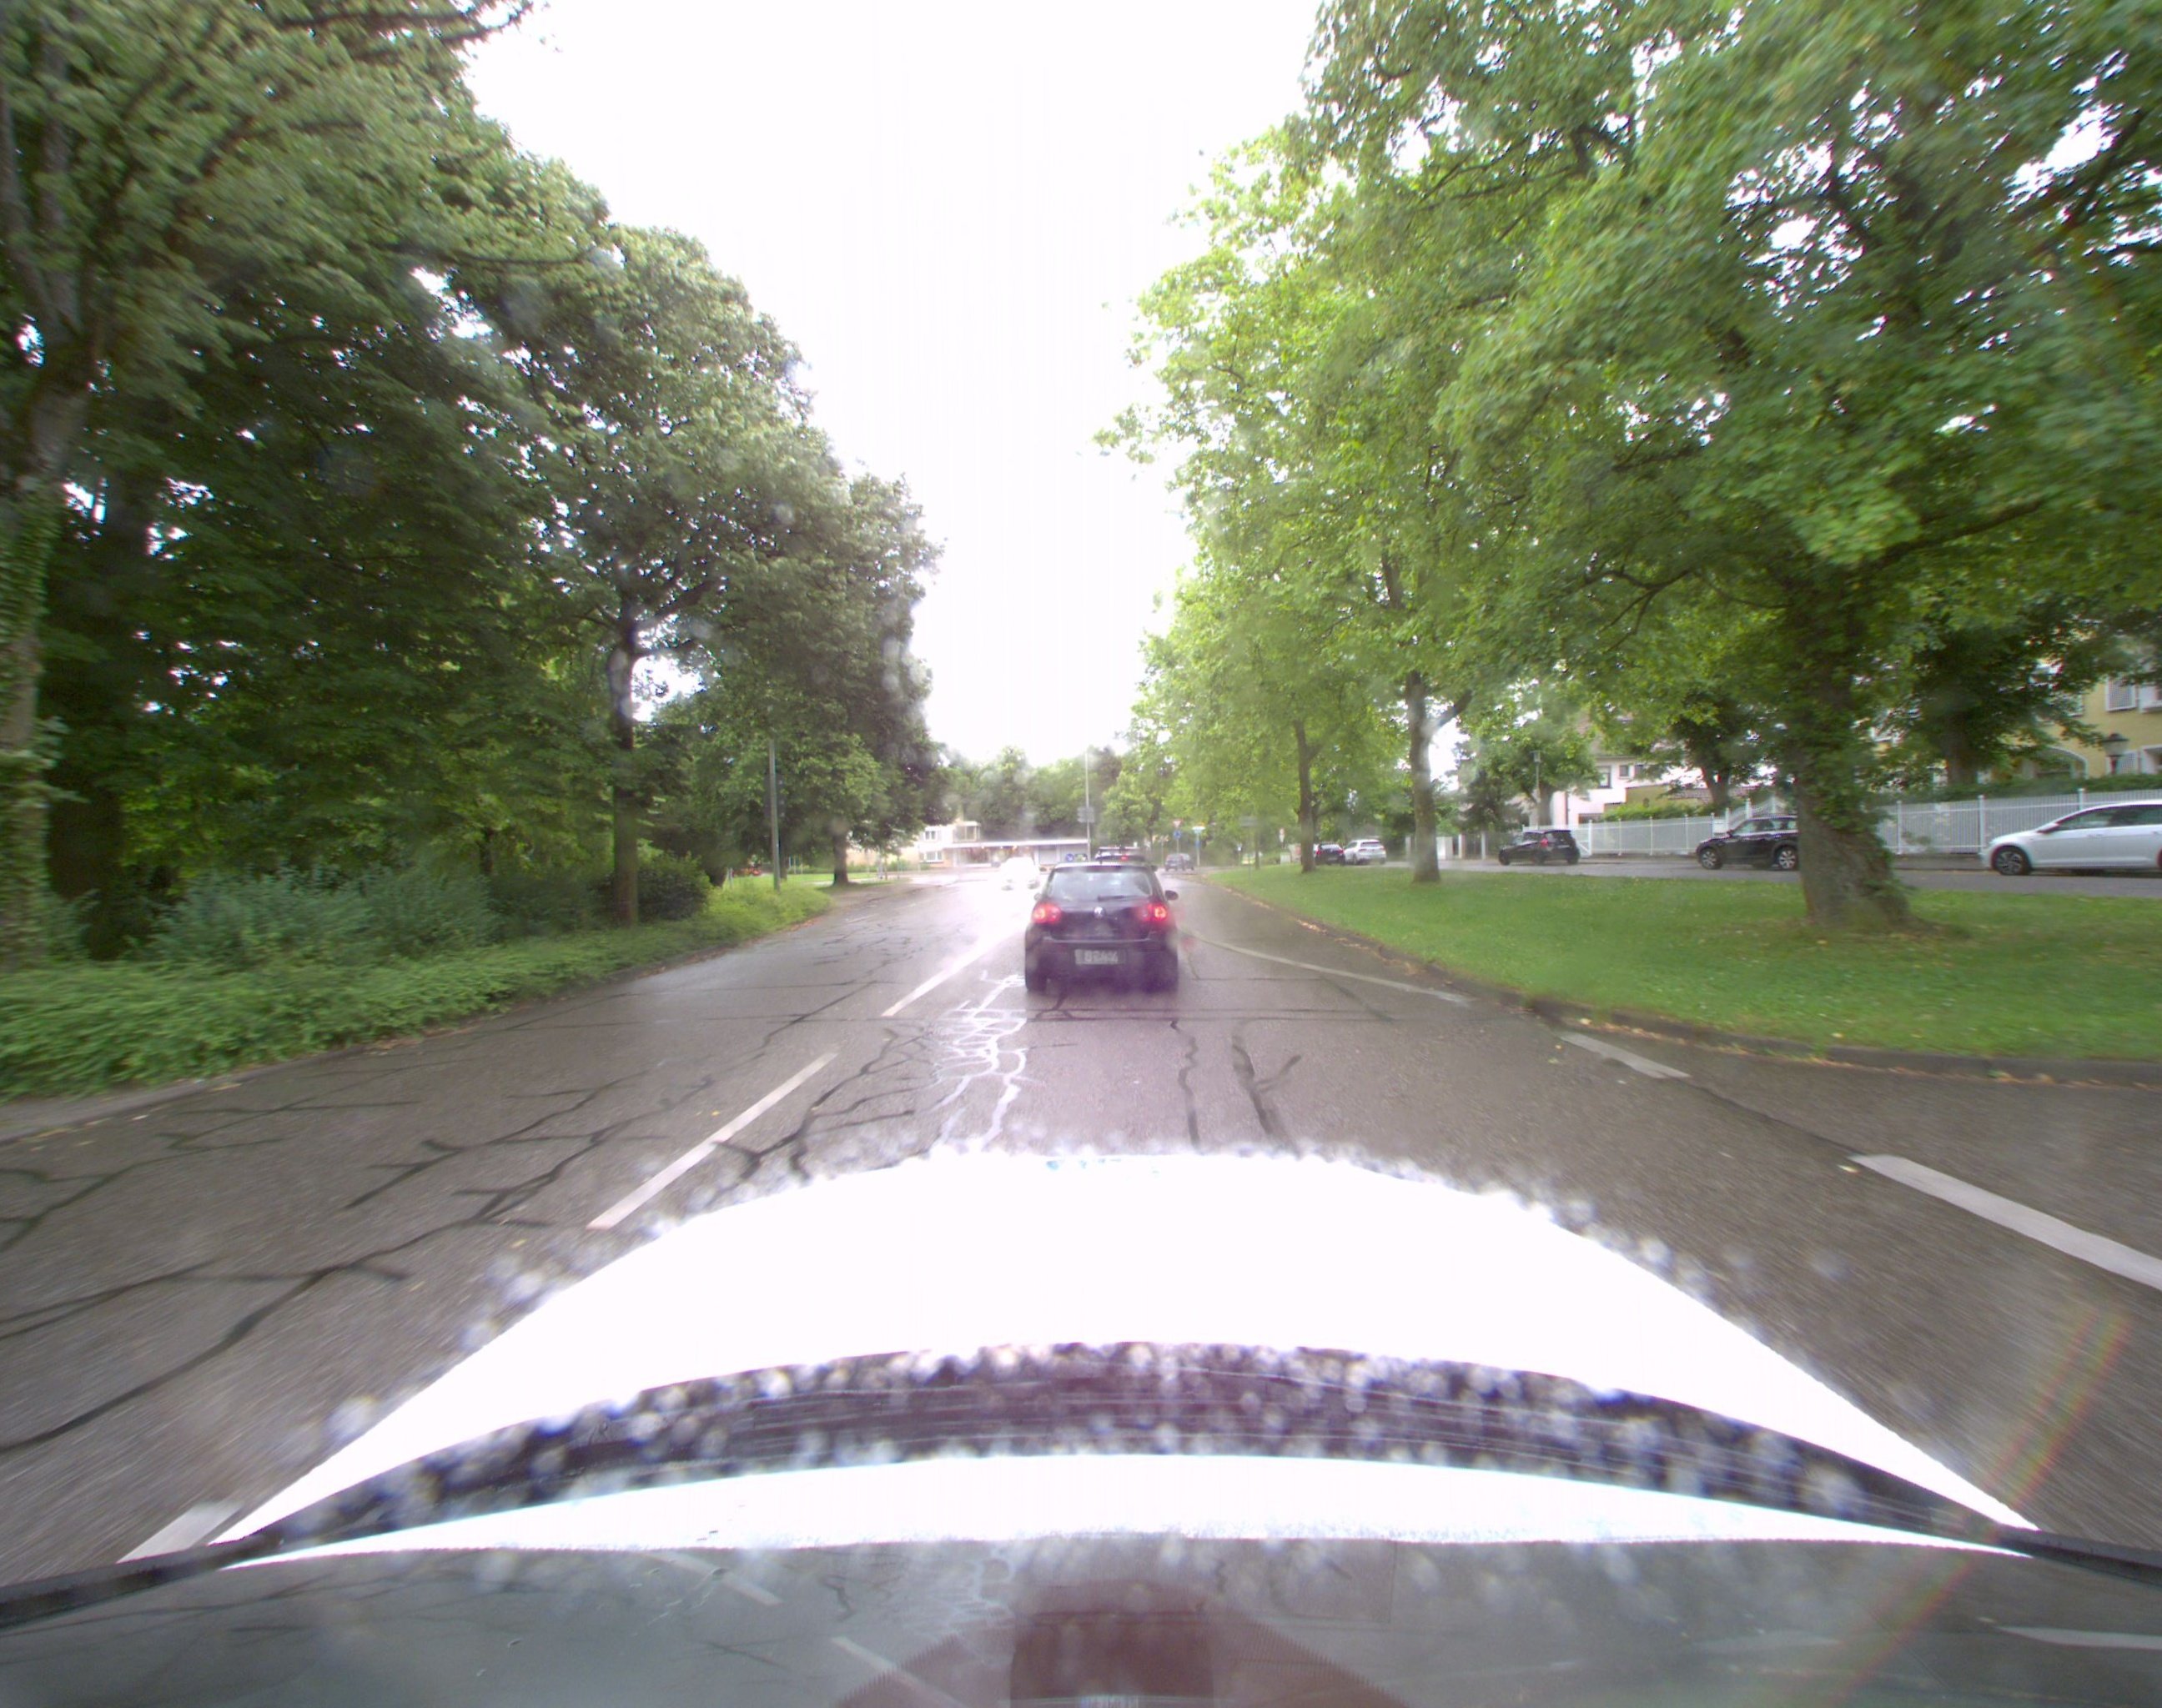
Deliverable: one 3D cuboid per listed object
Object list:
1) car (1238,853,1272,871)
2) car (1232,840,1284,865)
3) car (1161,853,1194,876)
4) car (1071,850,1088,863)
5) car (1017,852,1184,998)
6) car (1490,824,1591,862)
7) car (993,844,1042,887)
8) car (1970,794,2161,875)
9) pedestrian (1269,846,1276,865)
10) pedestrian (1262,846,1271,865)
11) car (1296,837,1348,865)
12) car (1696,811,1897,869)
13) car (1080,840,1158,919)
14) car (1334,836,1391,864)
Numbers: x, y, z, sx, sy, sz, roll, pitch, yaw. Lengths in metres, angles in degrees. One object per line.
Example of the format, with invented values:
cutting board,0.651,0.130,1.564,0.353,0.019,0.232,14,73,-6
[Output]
car,17.262,0.811,80.631,1.796,1.750,4.025,-1,-1,37
car,13.431,-0.157,62.027,1.999,1.741,4.120,2,1,-17
car,8.045,0.874,67.503,1.979,1.530,4.016,-9,-3,15
car,-0.214,0.264,97.354,1.809,1.486,3.826,-3,0,-4
car,0.266,0.767,10.591,1.758,1.538,4.001,0,-1,2
car,19.761,-0.413,35.257,1.755,1.471,4.354,-3,0,-1
car,-3.048,0.546,40.122,1.986,2.014,4.574,0,-1,1
car,20.243,-0.340,15.560,1.988,1.449,4.122,0,-1,-1
pedestrian,17.533,0.163,74.536,0.628,1.713,0.532,-1,-1,19
pedestrian,16.859,0.137,74.090,0.528,1.713,0.633,0,-1,-12
car,14.239,-0.125,48.362,1.758,1.471,4.599,-4,-1,2
car,19.876,-0.339,22.896,1.988,1.471,4.122,0,-1,-1
car,0.966,0.620,21.361,1.758,1.801,4.248,-3,-1,2
car,16.696,-0.214,48.547,1.839,1.471,4.426,-3,-1,1
